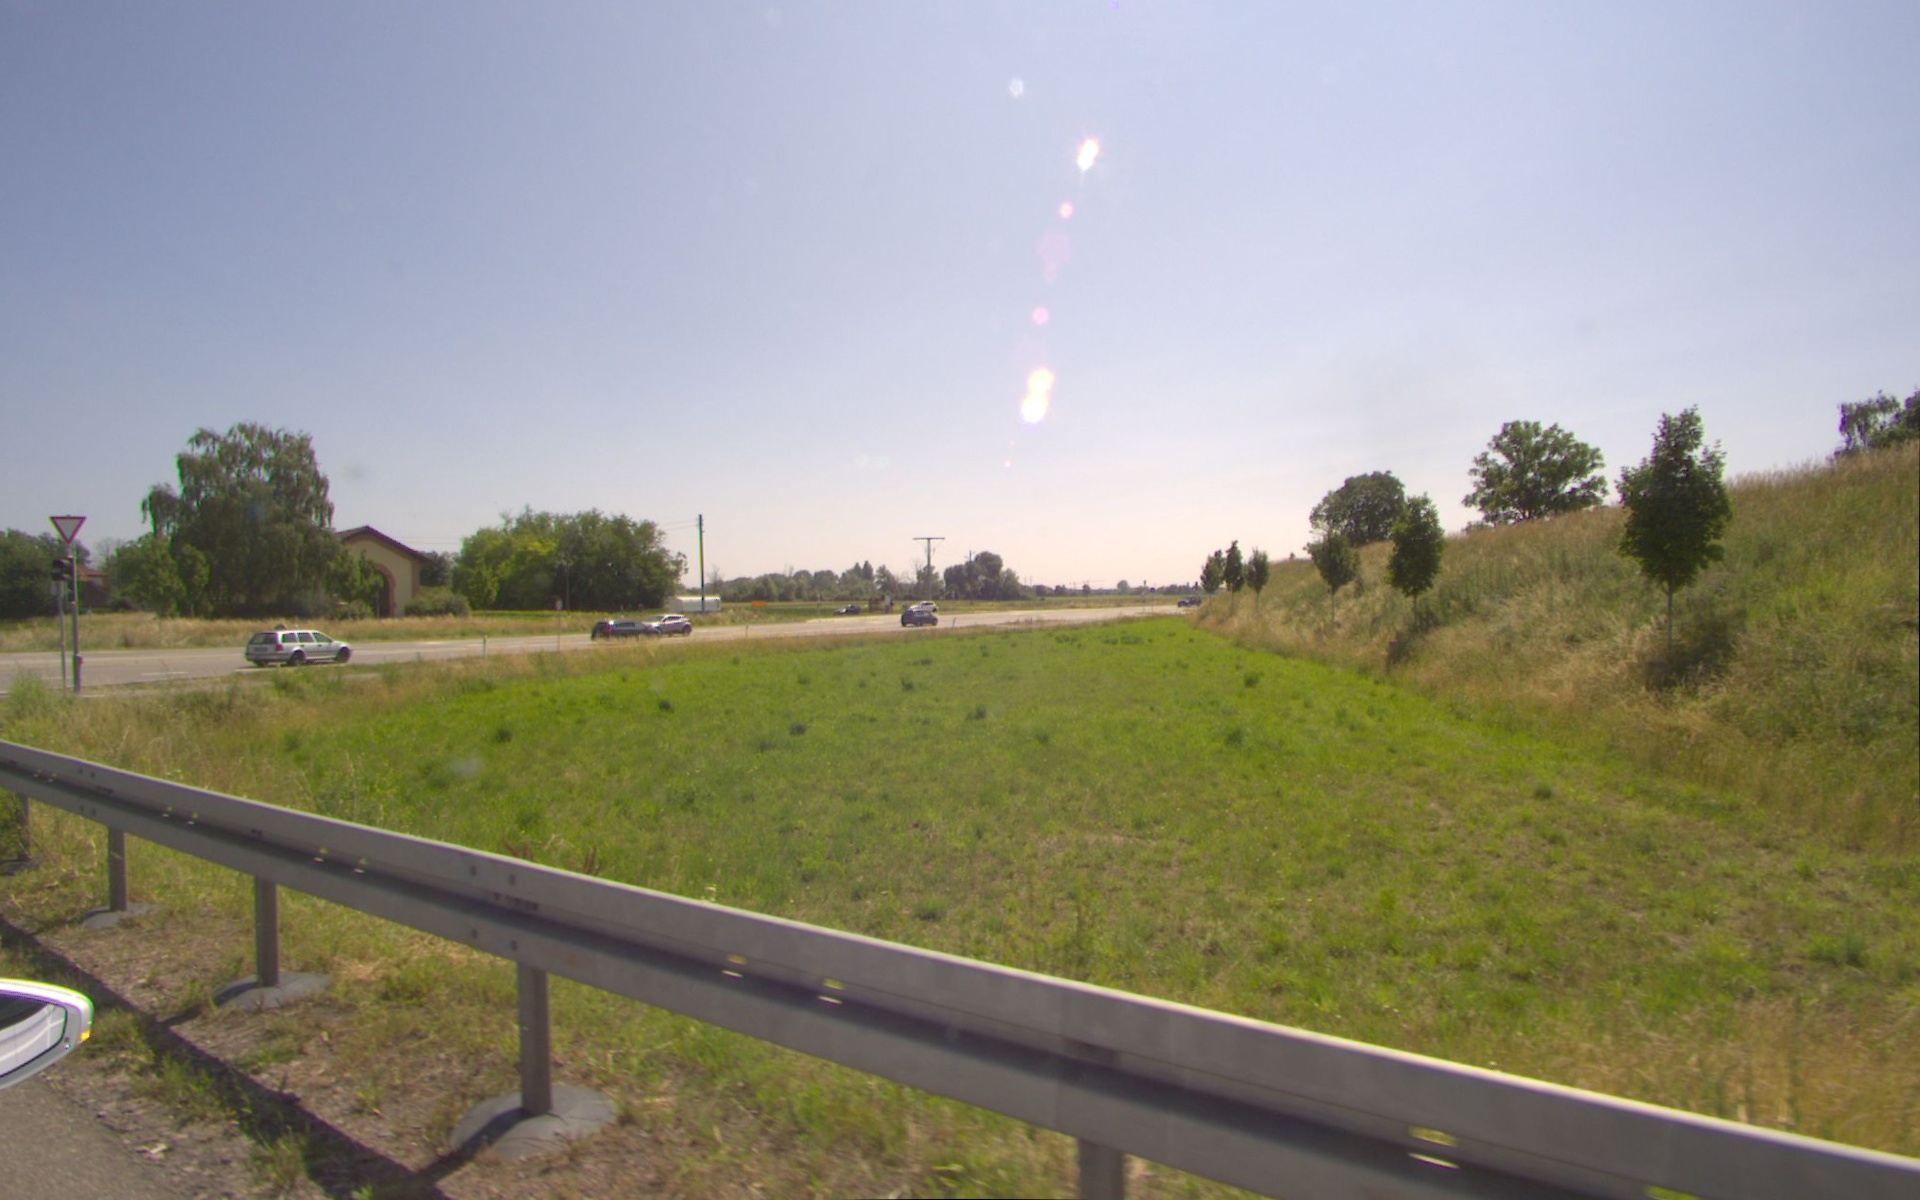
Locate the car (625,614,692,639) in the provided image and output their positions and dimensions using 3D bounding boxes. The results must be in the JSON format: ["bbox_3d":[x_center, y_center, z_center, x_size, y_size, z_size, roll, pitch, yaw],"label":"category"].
[{"bbox_3d":[-20.616,1.788,68.648,1.840,1.565,4.536,1,1,24],"label":"car"}]

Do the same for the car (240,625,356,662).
[{"bbox_3d":[-27.013,1.751,41.052,1.771,1.447,4.093,-1,-1,6],"label":"car"}]

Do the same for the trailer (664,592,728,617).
[{"bbox_3d":[-27.944,0.456,106.119,2.651,2.489,6.340,1,2,36],"label":"trailer"}]

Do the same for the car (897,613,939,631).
[{"bbox_3d":[-3.690,1.933,88.669,1.782,1.541,3.858,-1,-1,36],"label":"car"}]

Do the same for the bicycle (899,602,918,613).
[{"bbox_3d":[-7.423,1.080,144.314,2.572,1.389,0.900,-2,-2,21],"label":"bicycle"}]

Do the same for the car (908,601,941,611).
[{"bbox_3d":[-4.657,0.774,130.561,3.980,1.350,1.687,0,1,-31],"label":"car"}]

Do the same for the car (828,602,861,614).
[{"bbox_3d":[-13.858,0.931,120.194,1.659,1.406,3.809,2,1,40],"label":"car"}]

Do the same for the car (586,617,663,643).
[{"bbox_3d":[-19.980,1.787,59.843,1.777,1.495,4.399,-1,-1,27],"label":"car"}]
